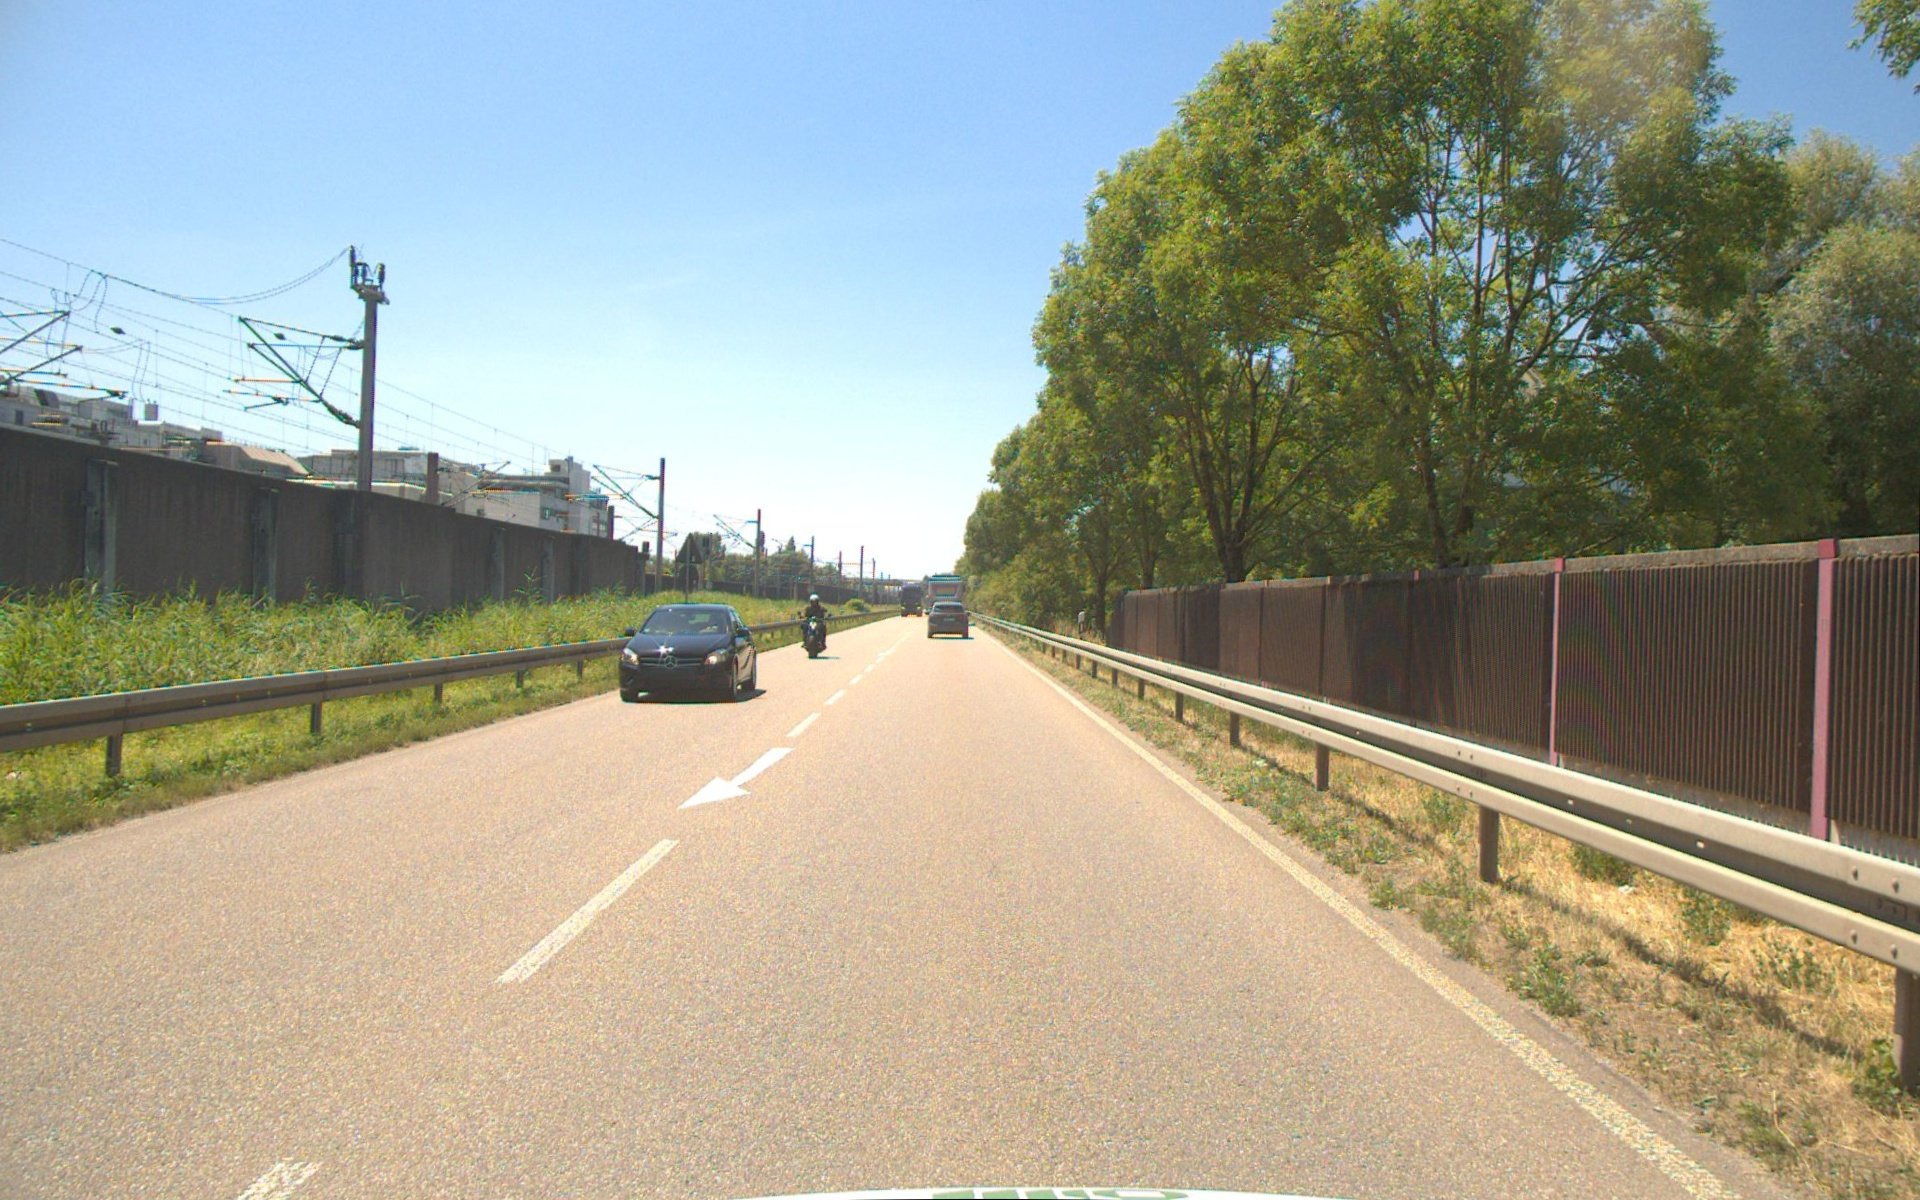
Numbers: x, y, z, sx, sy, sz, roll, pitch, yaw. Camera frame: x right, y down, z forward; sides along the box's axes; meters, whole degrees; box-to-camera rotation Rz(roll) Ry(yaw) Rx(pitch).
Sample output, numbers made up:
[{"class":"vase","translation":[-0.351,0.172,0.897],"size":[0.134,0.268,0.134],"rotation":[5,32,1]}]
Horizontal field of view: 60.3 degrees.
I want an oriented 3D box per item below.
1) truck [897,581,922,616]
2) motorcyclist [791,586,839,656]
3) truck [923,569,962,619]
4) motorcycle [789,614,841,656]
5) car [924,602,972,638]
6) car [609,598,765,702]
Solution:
[{"class":"truck","translation":[-6.058,-0.152,199.649],"size":[2.740,4.048,10.497],"rotation":[0,-1,-1]},{"class":"motorcyclist","translation":[-4.009,0.573,45.776],"size":[1.228,1.897,1.245],"rotation":[0,0,-1]},{"class":"truck","translation":[-1.288,-0.381,120.688],"size":[2.714,3.485,10.817],"rotation":[1,0,-1]},{"class":"motorcycle","translation":[-3.999,0.960,45.821],"size":[1.212,1.091,3.128],"rotation":[0,0,-1]},{"class":"car","translation":[-0.554,0.852,72.907],"size":[1.954,1.534,3.998],"rotation":[0,0,-3]},{"class":"car","translation":[-4.274,0.750,26.485],"size":[1.953,1.534,3.998],"rotation":[0,0,-2]}]
